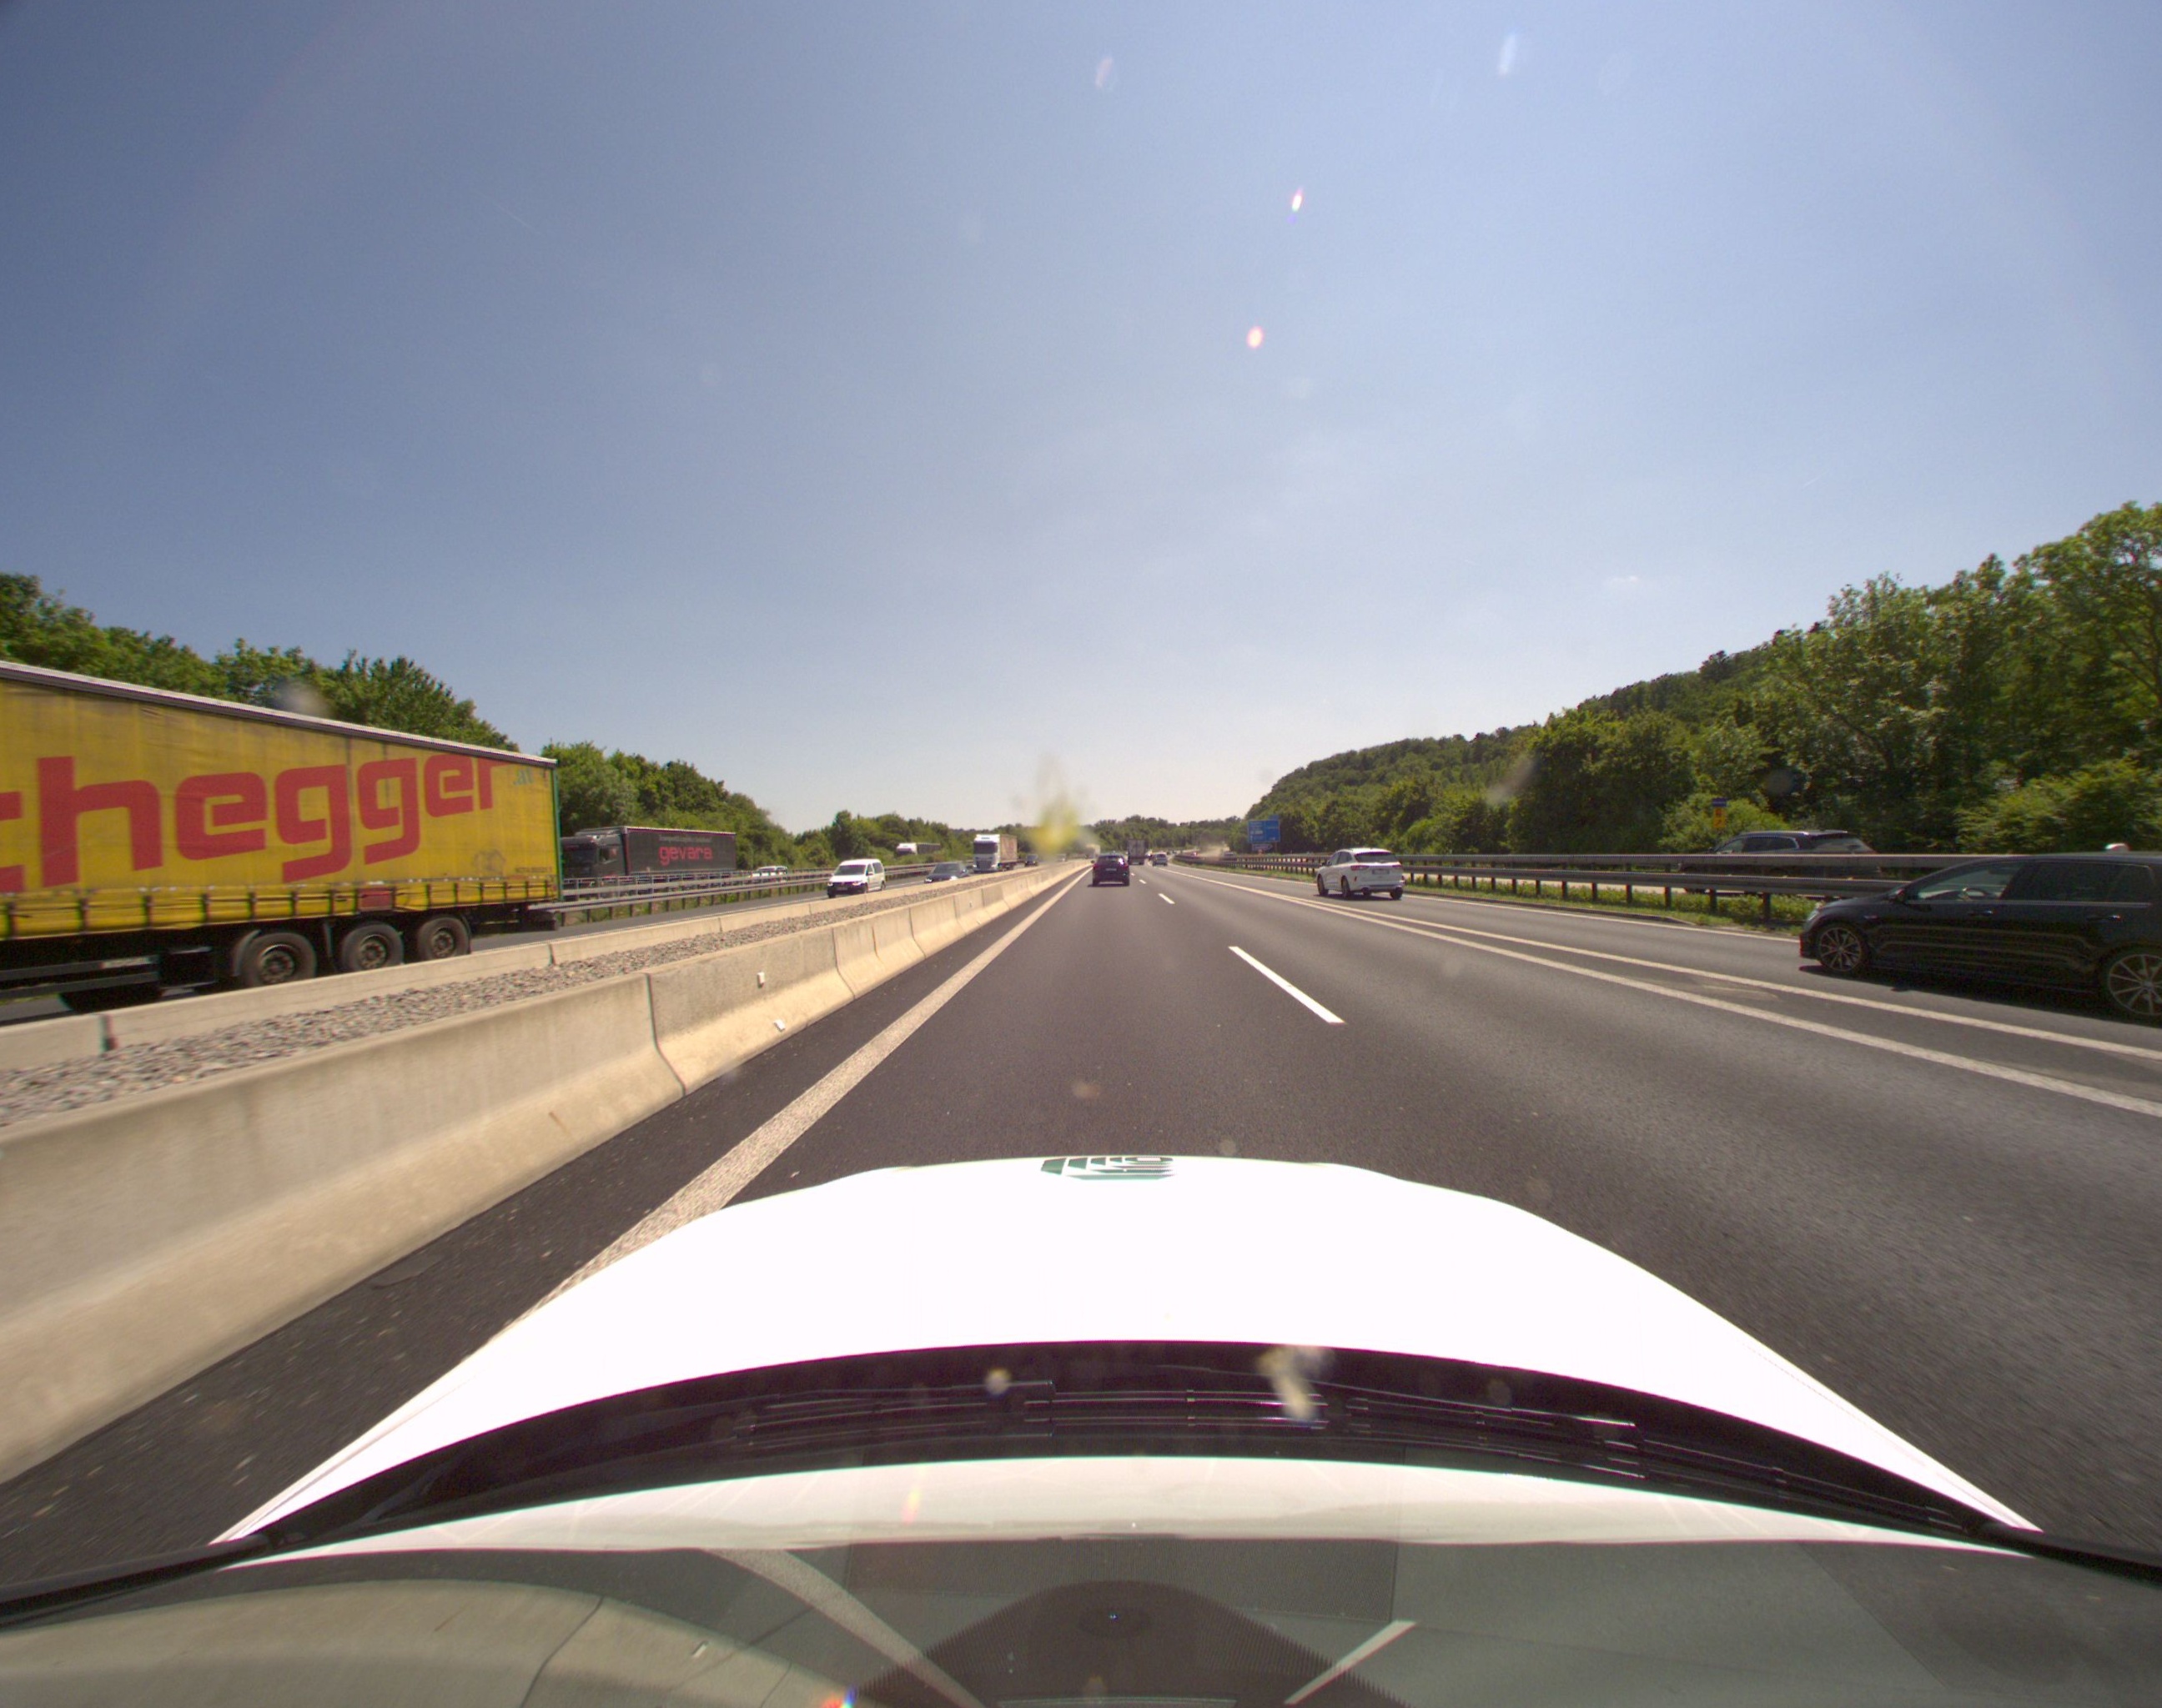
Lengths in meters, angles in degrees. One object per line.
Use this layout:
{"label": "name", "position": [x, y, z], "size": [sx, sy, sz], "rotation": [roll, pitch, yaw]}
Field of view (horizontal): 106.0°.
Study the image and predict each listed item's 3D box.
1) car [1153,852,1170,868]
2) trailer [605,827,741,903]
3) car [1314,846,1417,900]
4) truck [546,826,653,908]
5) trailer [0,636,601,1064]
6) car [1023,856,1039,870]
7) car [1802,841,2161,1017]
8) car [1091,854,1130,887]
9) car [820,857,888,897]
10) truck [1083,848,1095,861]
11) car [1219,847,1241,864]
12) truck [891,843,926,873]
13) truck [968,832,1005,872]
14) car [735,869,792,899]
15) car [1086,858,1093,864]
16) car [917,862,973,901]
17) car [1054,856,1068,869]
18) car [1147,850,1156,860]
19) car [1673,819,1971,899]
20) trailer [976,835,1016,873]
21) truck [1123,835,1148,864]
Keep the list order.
{"label": "car", "position": [11.247, 0.837, 113.682], "size": [1.986, 2.013, 4.001], "rotation": [-4, 0, 1]}
{"label": "trailer", "position": [-26.119, 0.686, 53.114], "size": [2.784, 4.434, 11.655], "rotation": [0, 0, 1]}
{"label": "car", "position": [9.461, 0.595, 27.511], "size": [1.987, 1.662, 4.468], "rotation": [0, 0, 1]}
{"label": "truck", "position": [-26.307, 0.697, 44.788], "size": [2.800, 4.272, 5.000], "rotation": [0, -1, 1]}
{"label": "trailer", "position": [-12.051, -0.013, 10.913], "size": [2.657, 4.273, 13.819], "rotation": [0, 0, 2]}
{"label": "car", "position": [-7.337, 1.300, 119.614], "size": [1.986, 2.014, 4.486], "rotation": [0, 0, 1]}
{"label": "car", "position": [9.728, 0.616, 7.995], "size": [1.789, 1.435, 3.965], "rotation": [0, 0, 0]}
{"label": "car", "position": [1.422, 0.789, 40.679], "size": [1.774, 1.577, 3.998], "rotation": [0, 0, -1]}
{"label": "car", "position": [-10.949, 1.072, 39.584], "size": [1.735, 1.826, 4.906], "rotation": [0, 0, 2]}
{"label": "truck", "position": [2.238, 0.152, 227.380], "size": [2.734, 3.754, 4.877], "rotation": [-1, -1, 8]}
{"label": "car", "position": [19.031, 0.158, 103.878], "size": [1.987, 2.013, 3.999], "rotation": [-2, 0, 0]}
{"label": "truck", "position": [-23.767, 0.588, 112.732], "size": [3.207, 4.045, 6.642], "rotation": [0, -1, 2]}
{"label": "truck", "position": [-9.741, -0.169, 84.172], "size": [2.917, 3.973, 5.900], "rotation": [0, -1, 2]}
{"label": "car", "position": [-22.077, 2.084, 56.824], "size": [1.986, 1.857, 4.540], "rotation": [-2, 0, 2]}
{"label": "car", "position": [2.039, 1.696, 199.320], "size": [1.723, 1.536, 4.613], "rotation": [0, 0, 1]}
{"label": "car", "position": [-6.817, 1.332, 41.382], "size": [1.977, 1.826, 4.826], "rotation": [0, 0, 0]}
{"label": "car", "position": [-3.180, 1.398, 130.868], "size": [2.043, 2.014, 4.956], "rotation": [0, 0, 1]}
{"label": "car", "position": [15.780, 0.223, 181.766], "size": [1.983, 2.014, 4.007], "rotation": [-1, -1, 6]}
{"label": "car", "position": [17.540, 0.129, 19.826], "size": [1.989, 1.662, 5.620], "rotation": [0, 0, -3]}
{"label": "trailer", "position": [-9.492, 0.029, 92.499], "size": [2.898, 4.045, 12.069], "rotation": [0, 0, 2]}
{"label": "truck", "position": [8.717, -0.618, 128.769], "size": [3.015, 4.418, 12.043], "rotation": [-1, 0, 7]}
